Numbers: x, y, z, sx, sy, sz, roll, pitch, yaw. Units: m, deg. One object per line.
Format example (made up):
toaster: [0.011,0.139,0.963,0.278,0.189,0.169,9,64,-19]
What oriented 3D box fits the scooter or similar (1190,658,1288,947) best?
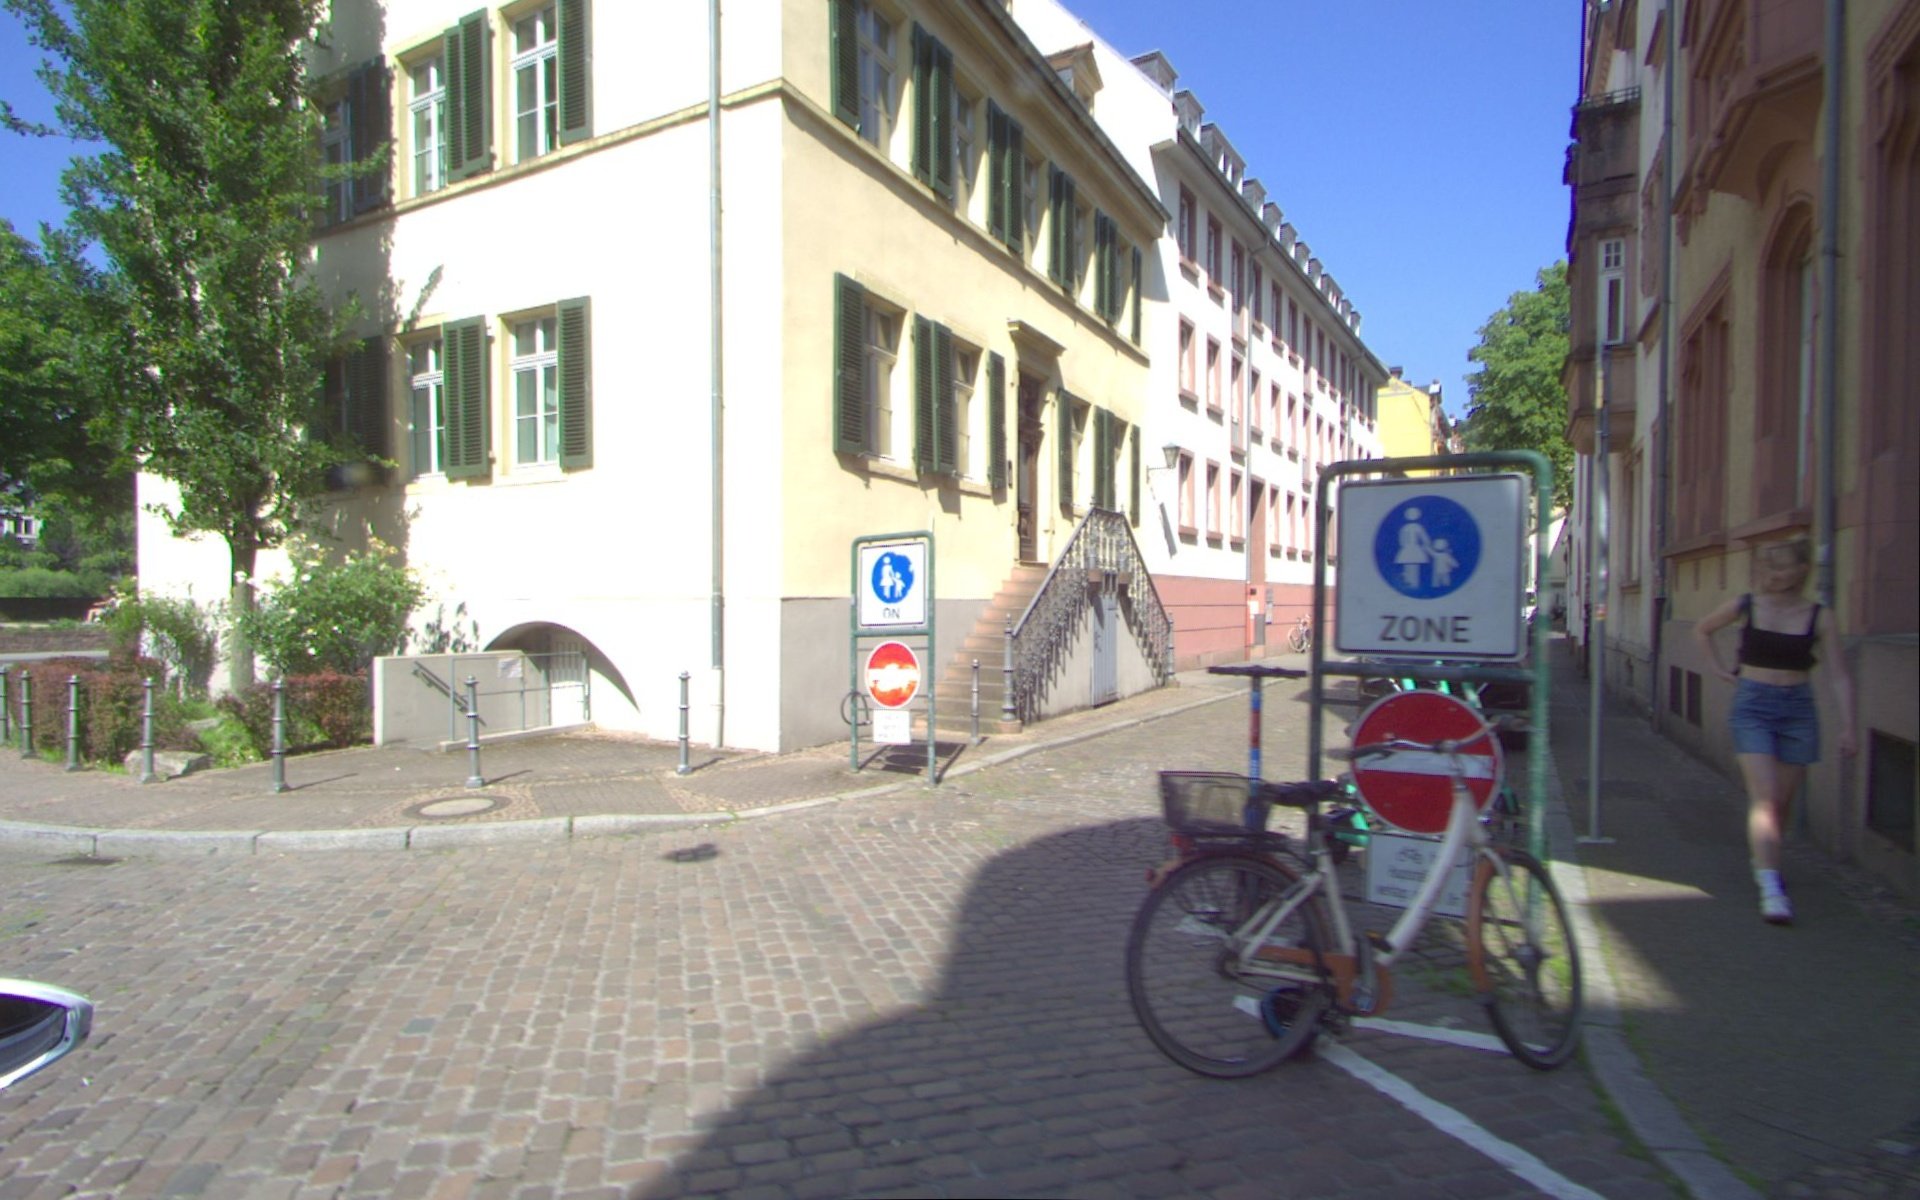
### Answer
scooter or similar: [1.440,0.959,5.188,0.434,1.251,1.189,0,0,15]

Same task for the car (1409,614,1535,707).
car: [8.710,0.977,16.959,1.687,1.375,3.320,-4,-2,29]

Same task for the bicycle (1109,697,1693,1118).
bicycle: [1.425,0.946,3.321,1.759,1.161,0.505,-1,1,-7]

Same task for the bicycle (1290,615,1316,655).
bicycle: [10.615,1.076,31.000,0.450,1.198,1.438,0,0,32]

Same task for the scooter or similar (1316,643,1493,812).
scooter or similar: [3.335,0.944,7.552,1.167,1.225,0.342,0,1,4]

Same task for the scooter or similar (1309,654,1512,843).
scooter or similar: [3.088,0.999,6.932,1.211,1.225,0.413,0,1,10]

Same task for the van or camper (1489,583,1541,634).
van or camper: [27.472,0.429,49.564,2.153,2.352,5.337,-1,-1,29]

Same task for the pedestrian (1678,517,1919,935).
pedestrian: [3.986,0.560,4.844,0.614,1.780,0.977,-4,-2,28]

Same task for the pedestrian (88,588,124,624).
pedestrian: [-30.837,0.223,36.152,0.705,1.225,0.797,-3,-3,30]

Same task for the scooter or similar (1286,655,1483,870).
scooter or similar: [2.619,0.965,6.172,1.170,1.225,0.341,0,1,-17]

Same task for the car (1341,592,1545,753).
car: [6.045,0.780,12.568,1.968,1.664,3.985,-1,-1,27]
